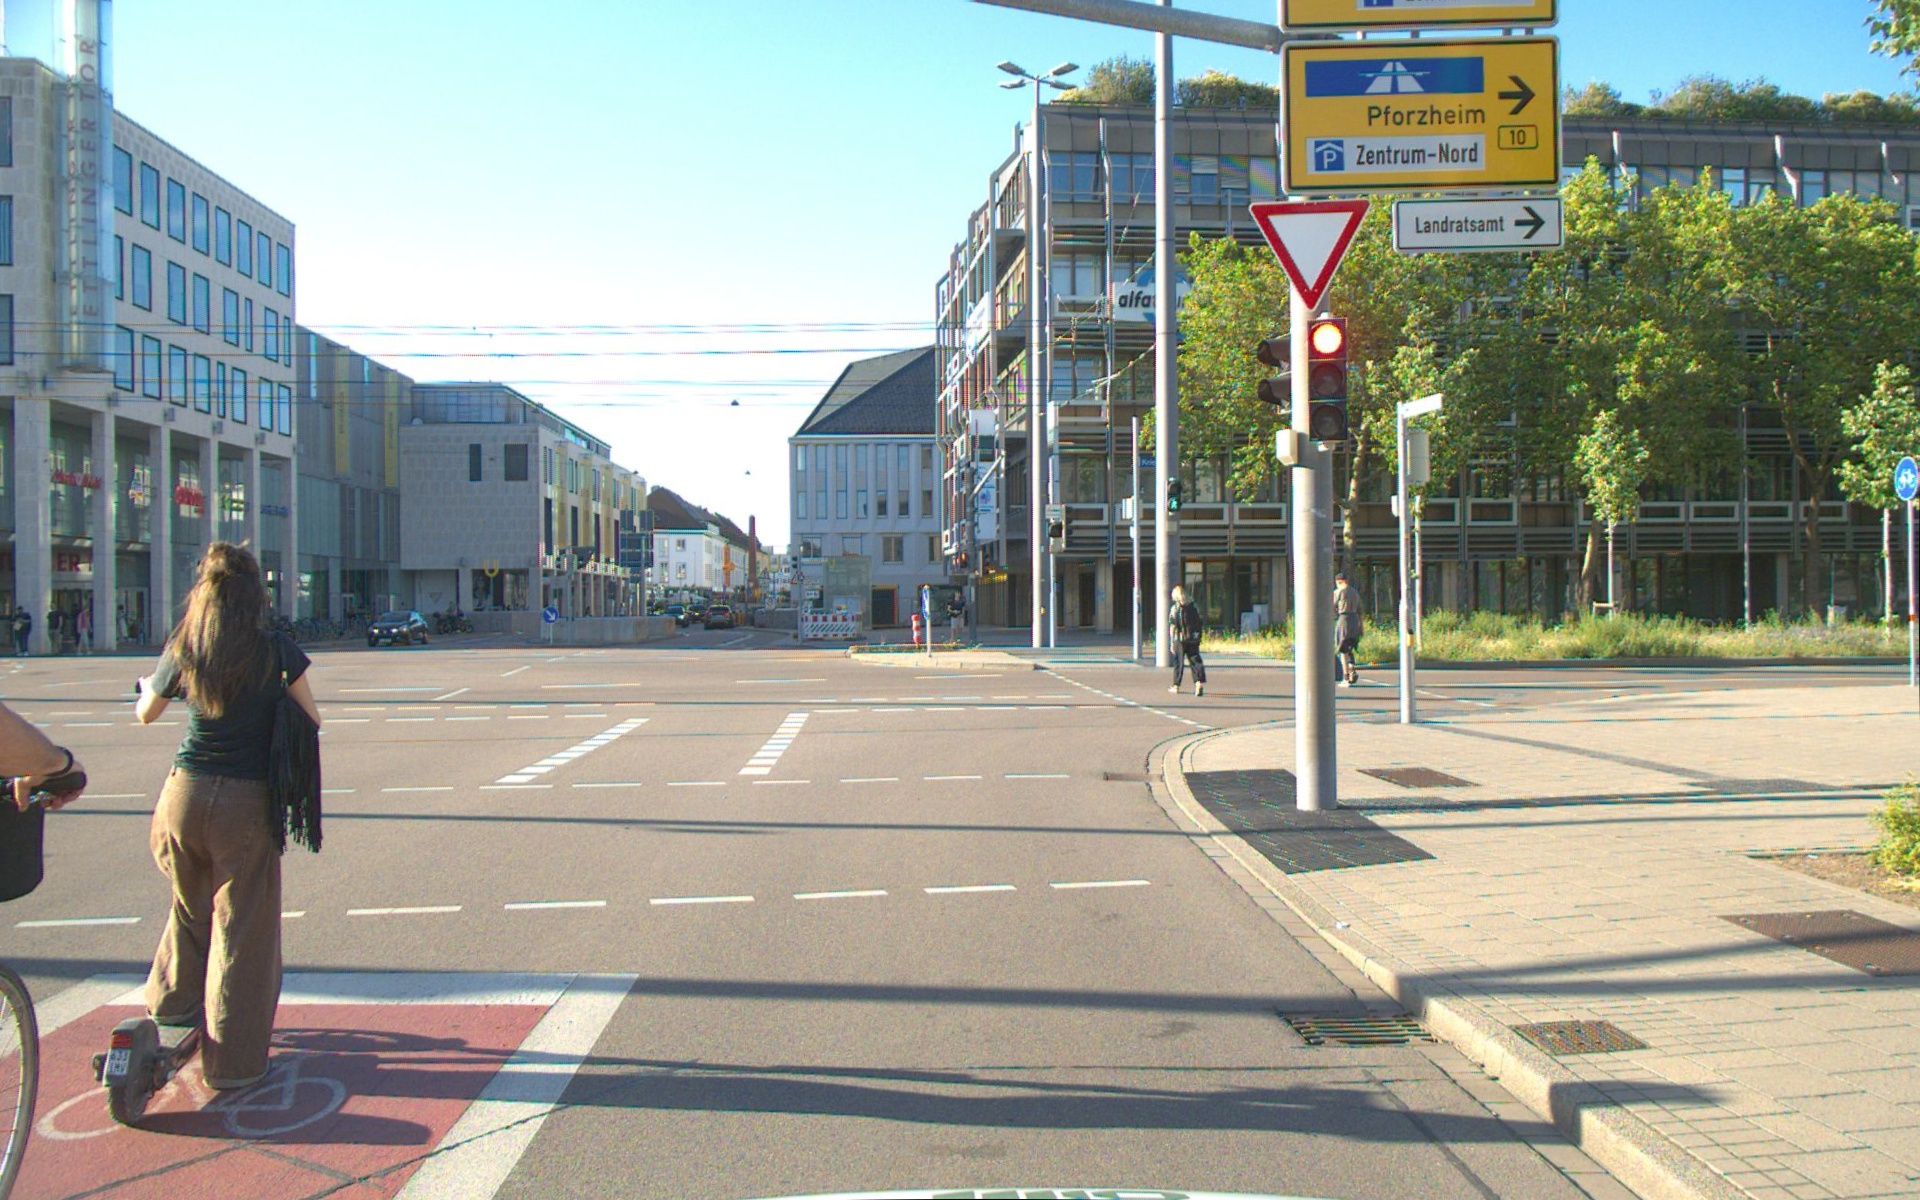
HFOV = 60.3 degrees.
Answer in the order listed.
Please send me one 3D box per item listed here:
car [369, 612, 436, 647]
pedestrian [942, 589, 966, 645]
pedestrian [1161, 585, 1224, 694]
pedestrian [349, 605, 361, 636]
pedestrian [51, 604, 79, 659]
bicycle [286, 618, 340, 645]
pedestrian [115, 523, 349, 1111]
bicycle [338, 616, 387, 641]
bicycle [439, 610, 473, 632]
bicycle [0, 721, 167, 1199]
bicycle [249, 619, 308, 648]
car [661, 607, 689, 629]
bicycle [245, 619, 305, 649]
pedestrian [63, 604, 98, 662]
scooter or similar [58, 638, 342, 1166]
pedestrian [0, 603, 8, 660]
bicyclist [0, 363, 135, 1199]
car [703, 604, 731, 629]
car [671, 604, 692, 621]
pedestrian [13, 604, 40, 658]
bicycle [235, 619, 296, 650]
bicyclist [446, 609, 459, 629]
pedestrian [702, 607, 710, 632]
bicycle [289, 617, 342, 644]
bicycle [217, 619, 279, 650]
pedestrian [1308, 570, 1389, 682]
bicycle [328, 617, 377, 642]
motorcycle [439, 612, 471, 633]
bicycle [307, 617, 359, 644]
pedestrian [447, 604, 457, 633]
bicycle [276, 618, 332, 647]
[{"bbox_3d":[-23.380,1.216,69.485,1.597,1.365,3.998,-3,0,-3],"label":"car"},{"bbox_3d":[-0.205,0.585,57.298,0.772,1.923,0.644,1,-1,-1],"label":"pedestrian"},{"bbox_3d":[3.306,0.557,23.557,0.772,1.518,0.644,1,-1,-1],"label":"pedestrian"},{"bbox_3d":[-34.174,1.148,93.459,0.544,1.709,0.606,1,0,-11],"label":"pedestrian"},{"bbox_3d":[-31.173,1.079,57.604,0.788,1.876,0.854,0,0,-33],"label":"pedestrian"},{"bbox_3d":[-30.067,1.460,76.848,2.260,1.244,0.611,0,0,-3],"label":"bicycle"},{"bbox_3d":[-2.187,0.617,5.029,0.540,1.661,0.569,1,-1,-16],"label":"pedestrian"},{"bbox_3d":[-30.819,1.485,85.338,2.260,1.244,0.611,0,0,-3],"label":"bicycle"},{"bbox_3d":[-28.945,1.224,95.048,1.791,1.228,0.505,1,0,-37],"label":"bicycle"},{"bbox_3d":[-2.081,0.869,2.928,0.475,1.176,1.831,1,0,-1],"label":"bicycle"},{"bbox_3d":[-29.506,1.447,71.633,2.260,1.244,0.611,0,0,-3],"label":"bicycle"},{"bbox_3d":[-22.442,1.384,130.468,1.762,1.686,3.996,1,0,-5],"label":"car"},{"bbox_3d":[-29.293,1.447,70.756,2.260,1.244,0.611,0,0,-3],"label":"bicycle"},{"bbox_3d":[-31.461,1.188,59.174,0.868,2.049,0.771,1,-1,-12],"label":"pedestrian"},{"bbox_3d":[-2.178,0.786,4.862,0.538,1.316,1.189,1,0,-15],"label":"scooter or similar"},{"bbox_3d":[-33.206,1.079,56.888,0.706,1.918,0.780,1,-1,-28],"label":"pedestrian"},{"bbox_3d":[-1.978,0.465,2.854,0.647,1.750,0.865,1,-1,-1],"label":"bicyclist"},{"bbox_3d":[-15.829,1.070,107.947,1.705,1.558,3.849,1,0,-8],"label":"car"},{"bbox_3d":[-28.819,1.257,171.188,1.762,1.686,3.996,1,0,-5],"label":"car"},{"bbox_3d":[-32.813,1.087,58.165,0.787,1.876,0.856,0,0,-29],"label":"pedestrian"},{"bbox_3d":[-29.129,1.443,69.402,2.260,1.244,0.611,0,0,-3],"label":"bicycle"},{"bbox_3d":[-29.114,1.078,94.908,0.618,1.103,0.505,1,0,-35],"label":"bicyclist"},{"bbox_3d":[-17.917,1.373,116.841,0.511,1.709,0.582,1,0,-8],"label":"pedestrian"},{"bbox_3d":[-30.717,1.458,78.818,2.260,1.244,0.611,0,0,-3],"label":"bicycle"},{"bbox_3d":[-29.336,1.434,68.117,2.260,1.244,0.611,0,0,-3],"label":"bicycle"},{"bbox_3d":[5.994,0.396,25.535,0.864,1.694,0.961,1,-1,-14],"label":"pedestrian"},{"bbox_3d":[-30.930,1.478,84.267,2.260,1.244,0.611,0,0,-3],"label":"bicycle"},{"bbox_3d":[-29.764,1.340,97.476,1.775,1.228,0.509,1,0,-16],"label":"motorcycle"},{"bbox_3d":[-30.337,1.470,80.051,2.260,1.244,0.611,0,0,-3],"label":"bicycle"},{"bbox_3d":[-30.102,1.085,98.078,0.512,1.709,0.581,1,0,-14],"label":"pedestrian"},{"bbox_3d":[-29.607,1.458,74.698,2.260,1.244,0.611,0,0,-3],"label":"bicycle"}]
